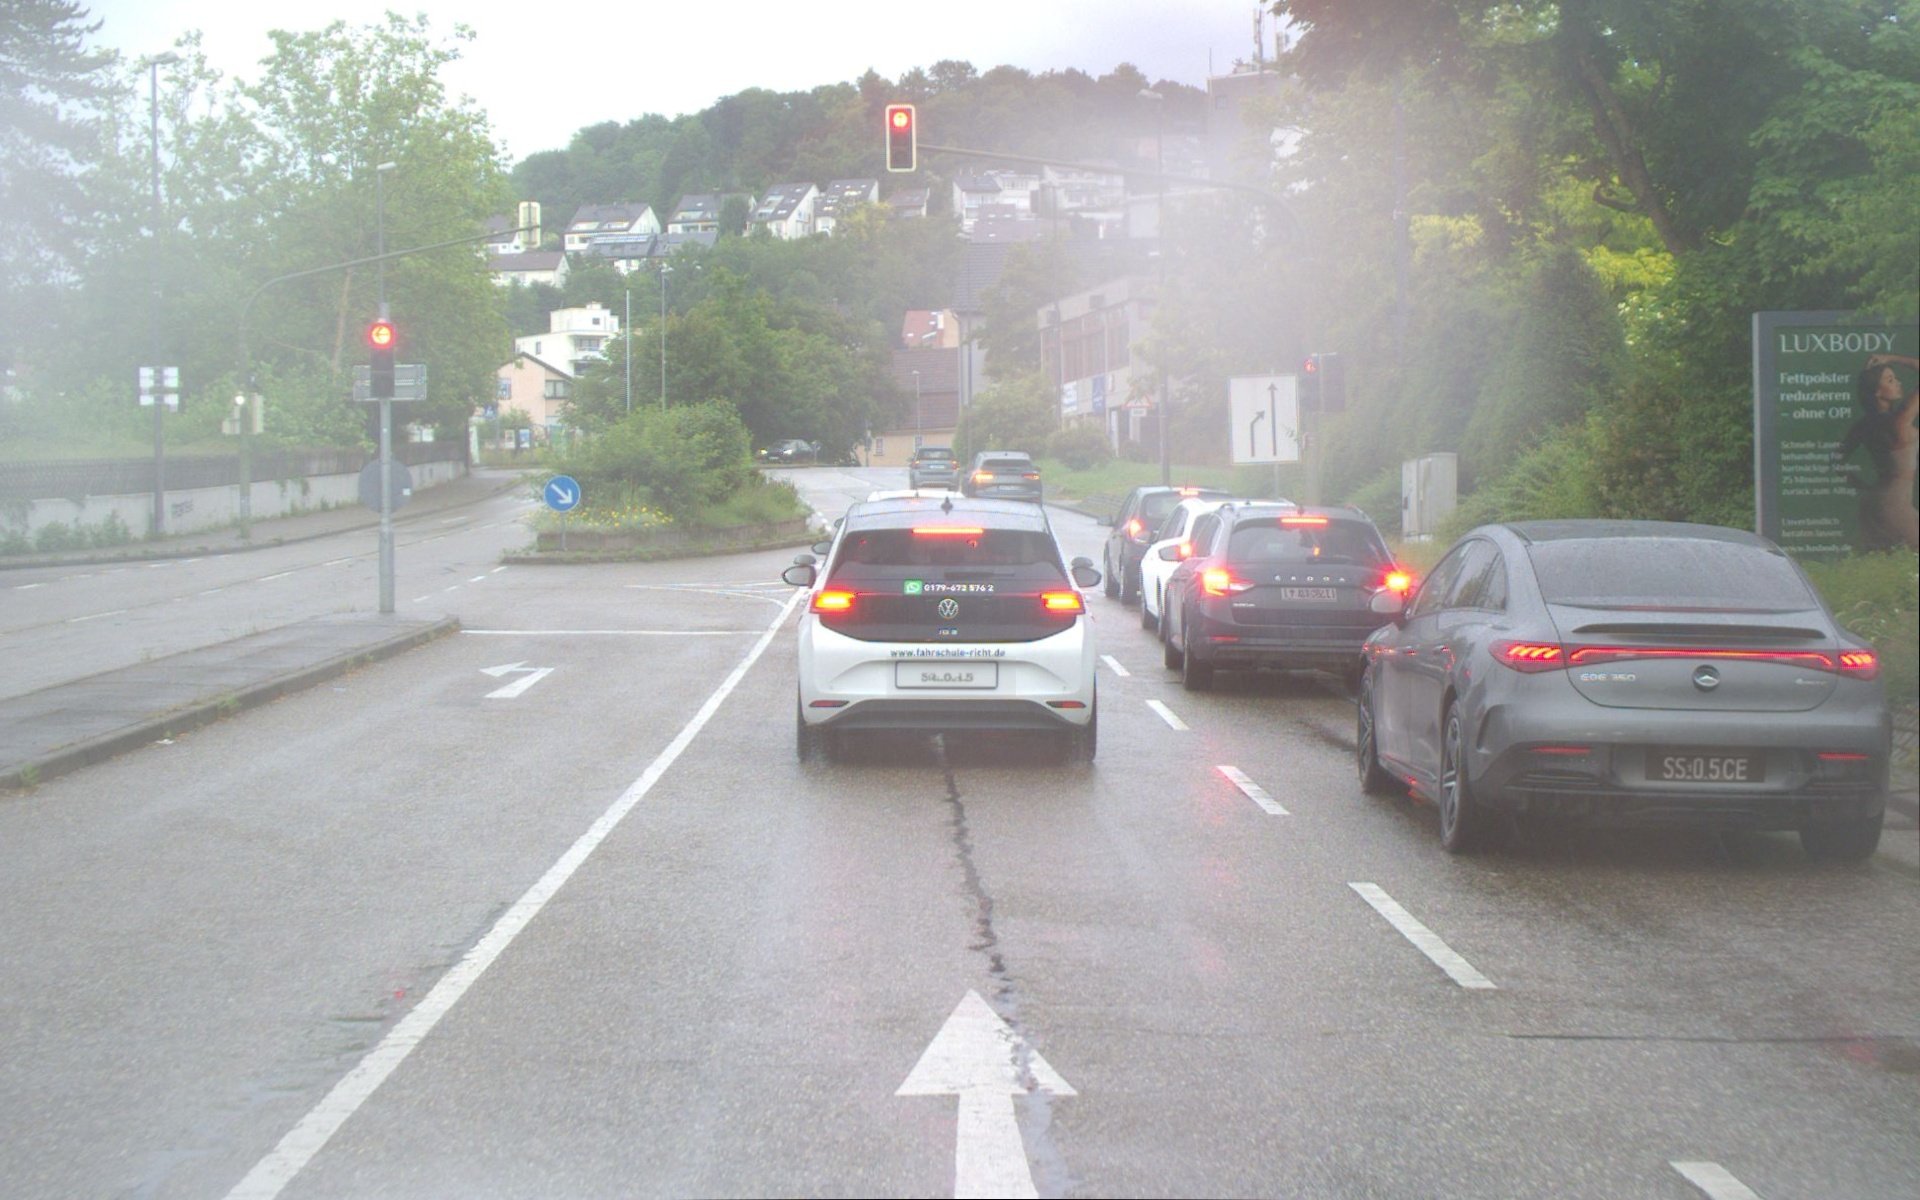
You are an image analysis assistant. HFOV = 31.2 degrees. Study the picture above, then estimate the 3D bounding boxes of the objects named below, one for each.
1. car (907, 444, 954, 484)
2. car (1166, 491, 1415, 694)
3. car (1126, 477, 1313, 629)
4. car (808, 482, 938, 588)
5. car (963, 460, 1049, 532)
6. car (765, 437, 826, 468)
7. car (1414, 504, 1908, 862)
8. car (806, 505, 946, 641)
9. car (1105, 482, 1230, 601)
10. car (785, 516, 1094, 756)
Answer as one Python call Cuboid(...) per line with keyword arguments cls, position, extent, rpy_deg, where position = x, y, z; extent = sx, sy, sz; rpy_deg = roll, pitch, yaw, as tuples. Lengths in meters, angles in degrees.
Cuboid(cls="car", position=(-0.994, -4.532, 114.840), extent=(1.366, 1.153, 2.427), rpy_deg=(-2, -1, -4))
Cuboid(cls="car", position=(2.601, -0.024, 27.703), extent=(1.648, 1.480, 3.366), rpy_deg=(-2, -1, 0))
Cuboid(cls="car", position=(2.663, -0.449, 35.965), extent=(1.565, 1.392, 3.957), rpy_deg=(-2, -1, -1))
Cuboid(cls="car", position=(-1.020, -0.762, 41.301), extent=(1.385, 1.123, 2.610), rpy_deg=(-2, -1, 2))
Cuboid(cls="car", position=(1.137, -2.611, 86.607), extent=(1.794, 1.564, 3.526), rpy_deg=(-2, -1, -5))
Cuboid(cls="car", position=(-8.745, -7.845, 183.048), extent=(1.535, 1.450, 3.102), rpy_deg=(-3, -2, 39))
Cuboid(cls="car", position=(3.121, 0.295, 15.928), extent=(1.734, 1.383, 3.352), rpy_deg=(1, 3, 3))
Cuboid(cls="car", position=(-0.794, -0.226, 31.640), extent=(1.213, 1.152, 2.270), rpy_deg=(-2, -1, -2))
Cuboid(cls="car", position=(2.610, -0.769, 43.767), extent=(1.315, 1.392, 3.079), rpy_deg=(-2, 2, -1))
Cuboid(cls="car", position=(-0.158, 0.164, 21.068), extent=(1.741, 1.291, 3.334), rpy_deg=(0, 2, -1))
